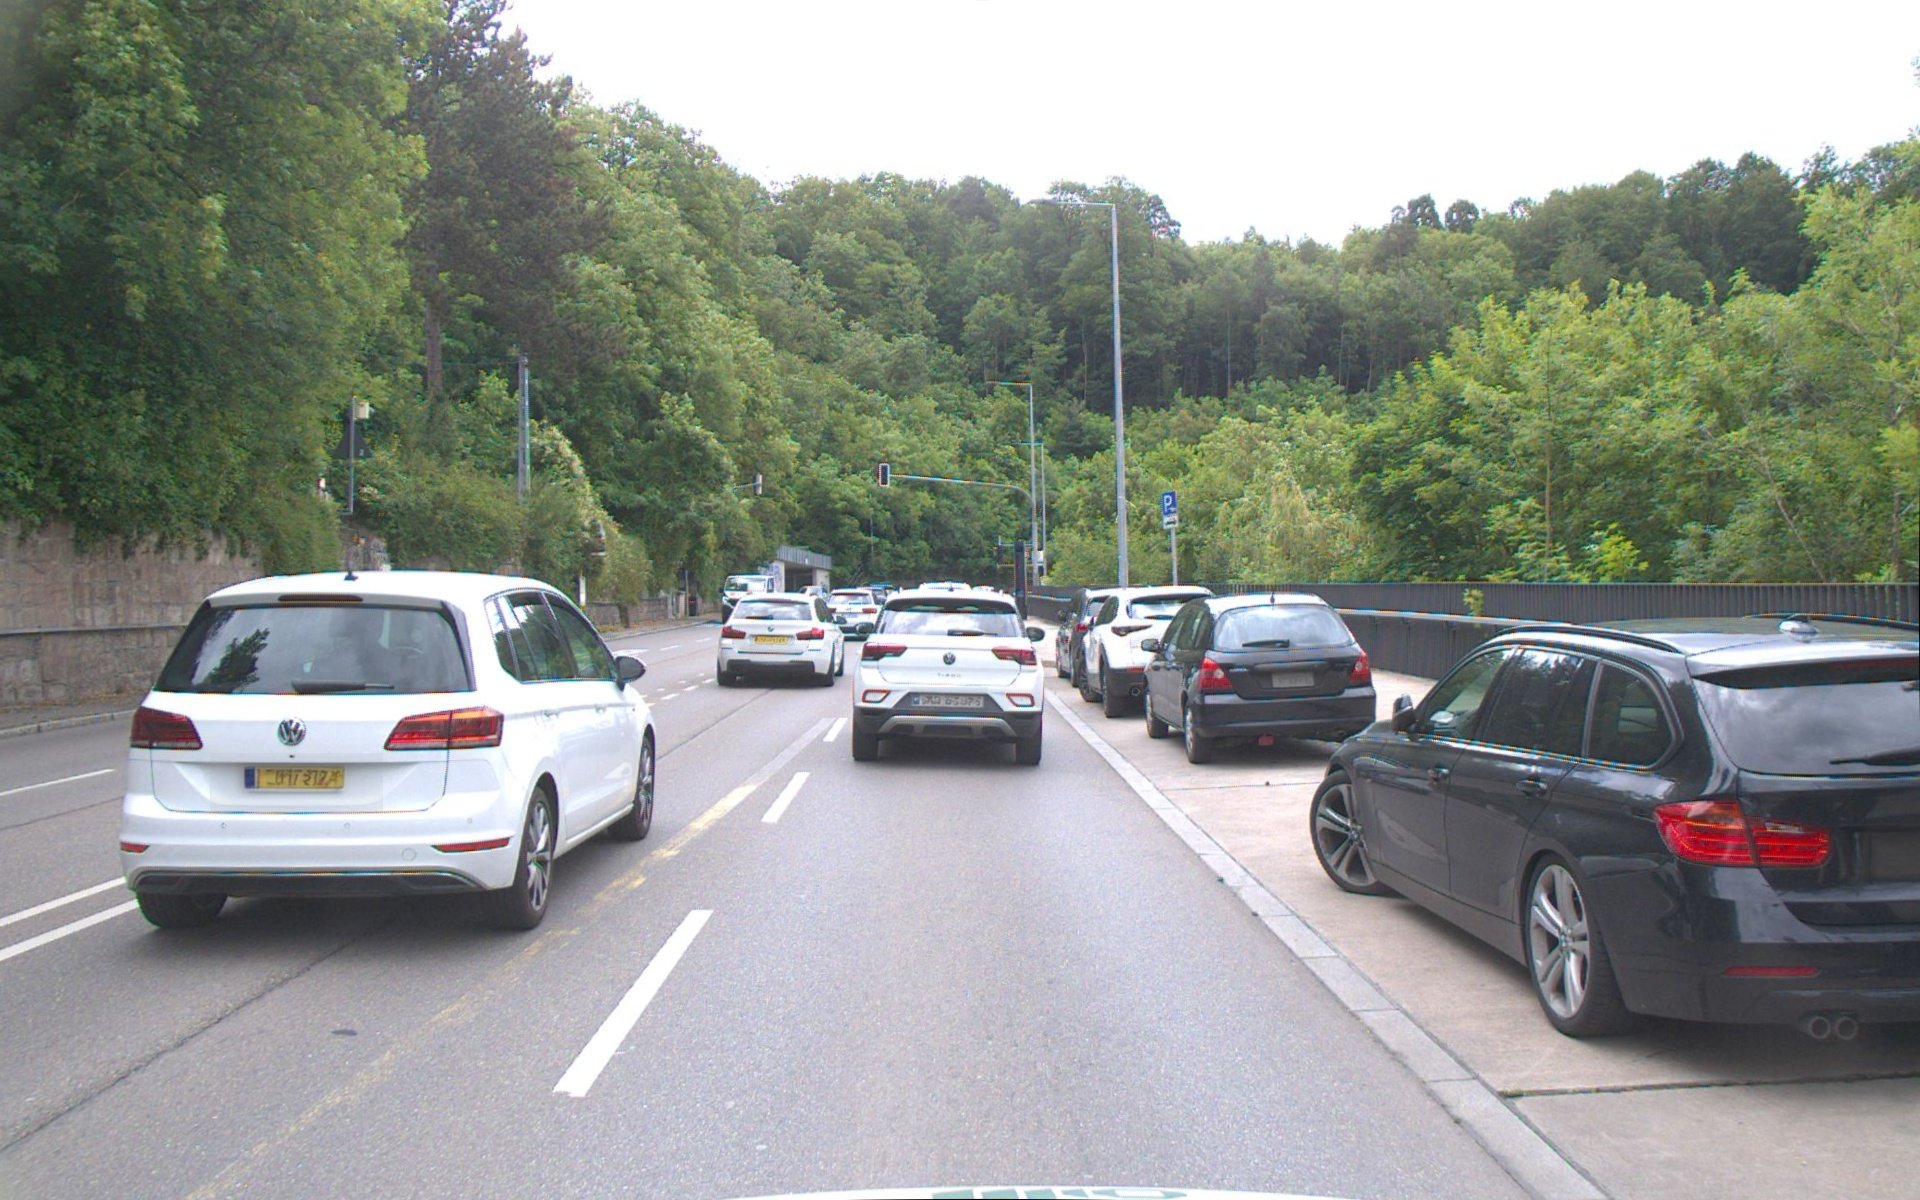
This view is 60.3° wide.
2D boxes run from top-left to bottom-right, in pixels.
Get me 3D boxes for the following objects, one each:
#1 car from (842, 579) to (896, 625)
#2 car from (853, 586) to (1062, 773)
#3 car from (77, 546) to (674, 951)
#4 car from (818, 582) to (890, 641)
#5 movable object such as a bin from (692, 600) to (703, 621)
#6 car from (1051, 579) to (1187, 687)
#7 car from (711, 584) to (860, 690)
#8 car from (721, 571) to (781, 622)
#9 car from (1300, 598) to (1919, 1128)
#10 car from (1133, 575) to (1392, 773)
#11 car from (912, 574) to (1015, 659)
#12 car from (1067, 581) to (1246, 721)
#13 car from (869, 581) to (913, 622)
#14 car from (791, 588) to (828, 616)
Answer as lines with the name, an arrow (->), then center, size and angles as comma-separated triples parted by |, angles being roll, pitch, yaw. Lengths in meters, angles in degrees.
car -> -3.632, 0.071, 66.596 | 1.953, 1.771, 4.000 | 0, 0, 0
car -> -0.092, 0.684, 16.234 | 1.777, 1.566, 4.007 | -1, 0, -2
car -> -2.660, 0.570, 8.634 | 1.685, 1.581, 4.274 | 0, 0, -1
car -> -3.088, 0.335, 48.759 | 1.824, 1.623, 3.999 | 1, -1, 0
movable object such as a bin -> -12.115, 0.471, 76.291 | 0.418, 0.966, 0.479 | 1, 0, -2
car -> 2.592, 0.506, 27.900 | 1.721, 1.571, 4.426 | -3, 0, -1
car -> -2.807, 0.547, 27.593 | 1.952, 1.585, 4.681 | 1, 0, 0
car -> -8.841, -0.158, 70.312 | 1.882, 2.040, 5.355 | 0, 0, 0
car -> 2.855, 0.752, 6.947 | 1.786, 1.425, 4.318 | -3, 0, -2
car -> 2.817, 0.619, 16.299 | 1.626, 1.599, 4.254 | -3, 0, -1
car -> 0.144, 0.379, 39.569 | 1.951, 1.875, 4.153 | 1, 0, 7
car -> 2.453, 0.598, 21.694 | 1.691, 1.596, 4.623 | -2, 0, -1
car -> -3.312, 0.065, 80.222 | 1.953, 1.897, 4.000 | 0, 0, 0
car -> -8.768, 0.120, 96.796 | 1.641, 1.467, 4.234 | 2, 2, 1
